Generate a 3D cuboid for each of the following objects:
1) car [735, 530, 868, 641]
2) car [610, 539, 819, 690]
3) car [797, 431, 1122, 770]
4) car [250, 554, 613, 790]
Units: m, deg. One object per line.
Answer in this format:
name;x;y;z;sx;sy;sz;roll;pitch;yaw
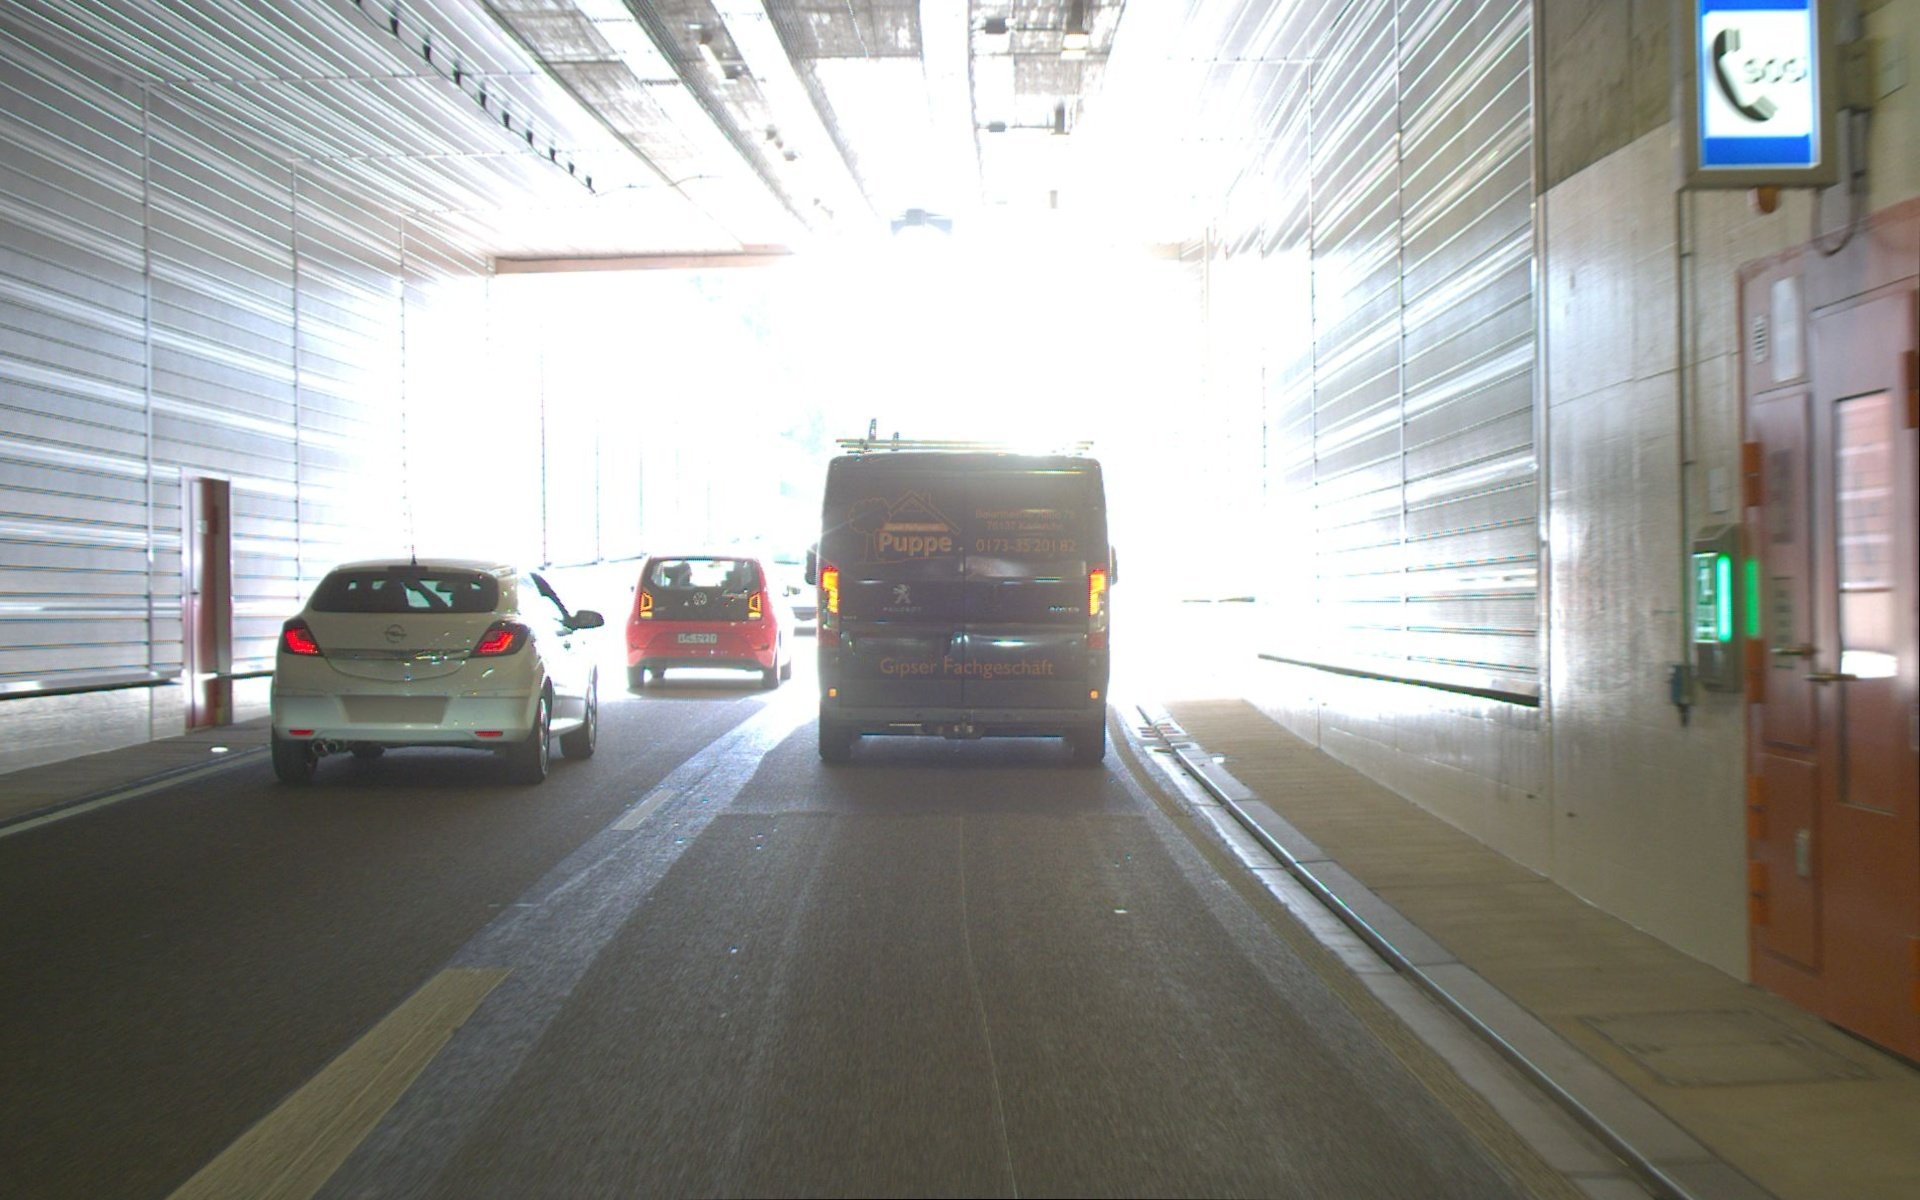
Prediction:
car;-2.386;-0.200;52.531;1.876;1.576;4.220;1;0;-1
car;-2.609;0.109;37.464;1.815;1.507;4.220;1;1;2
car;0.022;-0.039;25.508;2.158;2.258;4.637;1;1;1
car;-3.394;0.411;22.752;1.709;1.408;3.974;0;1;1
